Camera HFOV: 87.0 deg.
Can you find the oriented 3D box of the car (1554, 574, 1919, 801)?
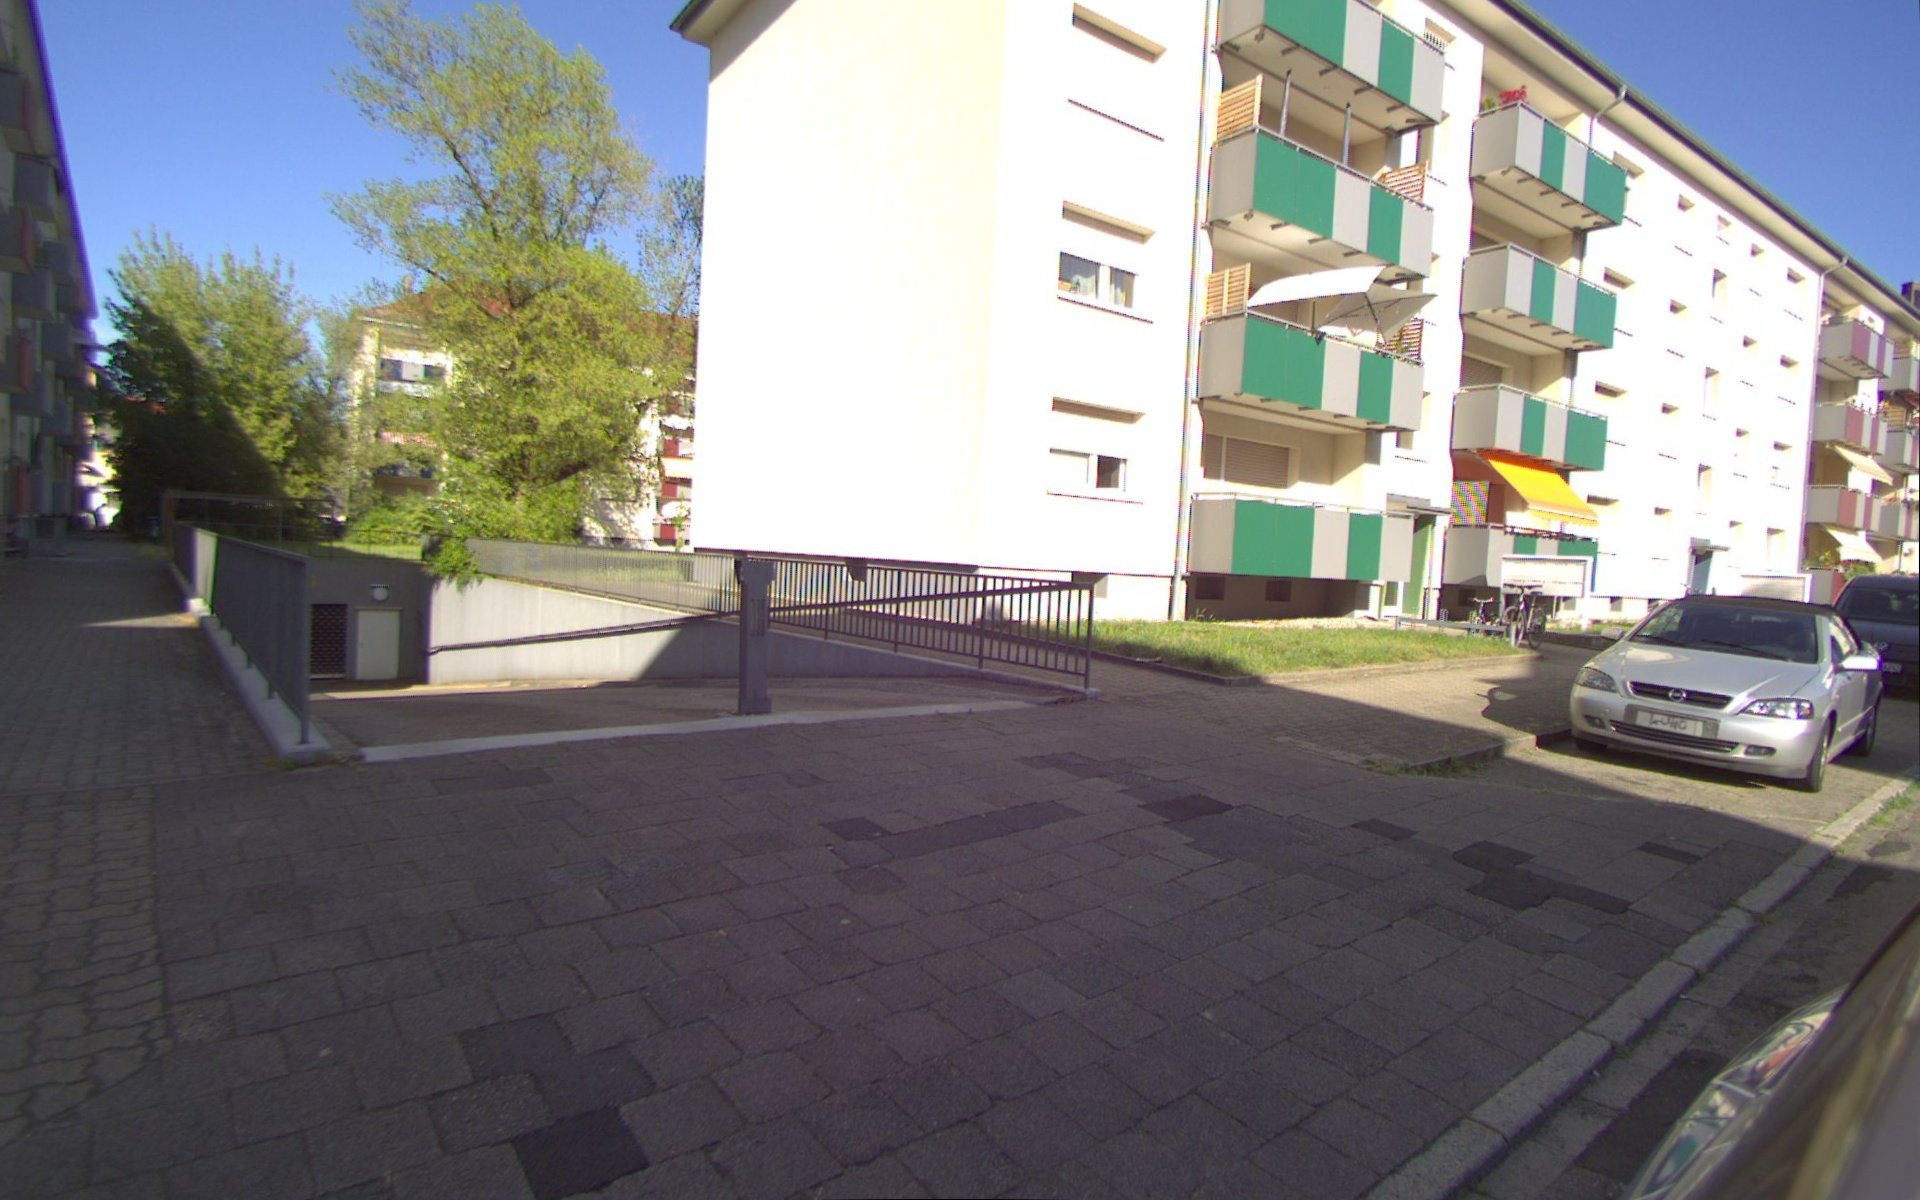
[{"bbox_3d":[7.007,0.587,8.950,4.240,1.423,1.746,0,5,-42],"label":"car"}]

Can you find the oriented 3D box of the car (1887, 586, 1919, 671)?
[{"bbox_3d":[18.921,0.579,18.911,3.789,1.476,1.645,1,5,-38],"label":"car"}]

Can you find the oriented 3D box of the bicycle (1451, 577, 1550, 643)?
[{"bbox_3d":[9.094,0.158,16.988,2.034,1.057,0.507,0,1,-33],"label":"bicycle"}]

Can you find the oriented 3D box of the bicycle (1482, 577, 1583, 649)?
[{"bbox_3d":[9.351,0.208,16.492,2.034,1.106,0.507,0,1,-33],"label":"bicycle"}]

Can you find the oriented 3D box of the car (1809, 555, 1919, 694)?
[{"bbox_3d":[15.020,0.355,15.845,4.833,1.861,1.764,0,5,-41],"label":"car"}]
